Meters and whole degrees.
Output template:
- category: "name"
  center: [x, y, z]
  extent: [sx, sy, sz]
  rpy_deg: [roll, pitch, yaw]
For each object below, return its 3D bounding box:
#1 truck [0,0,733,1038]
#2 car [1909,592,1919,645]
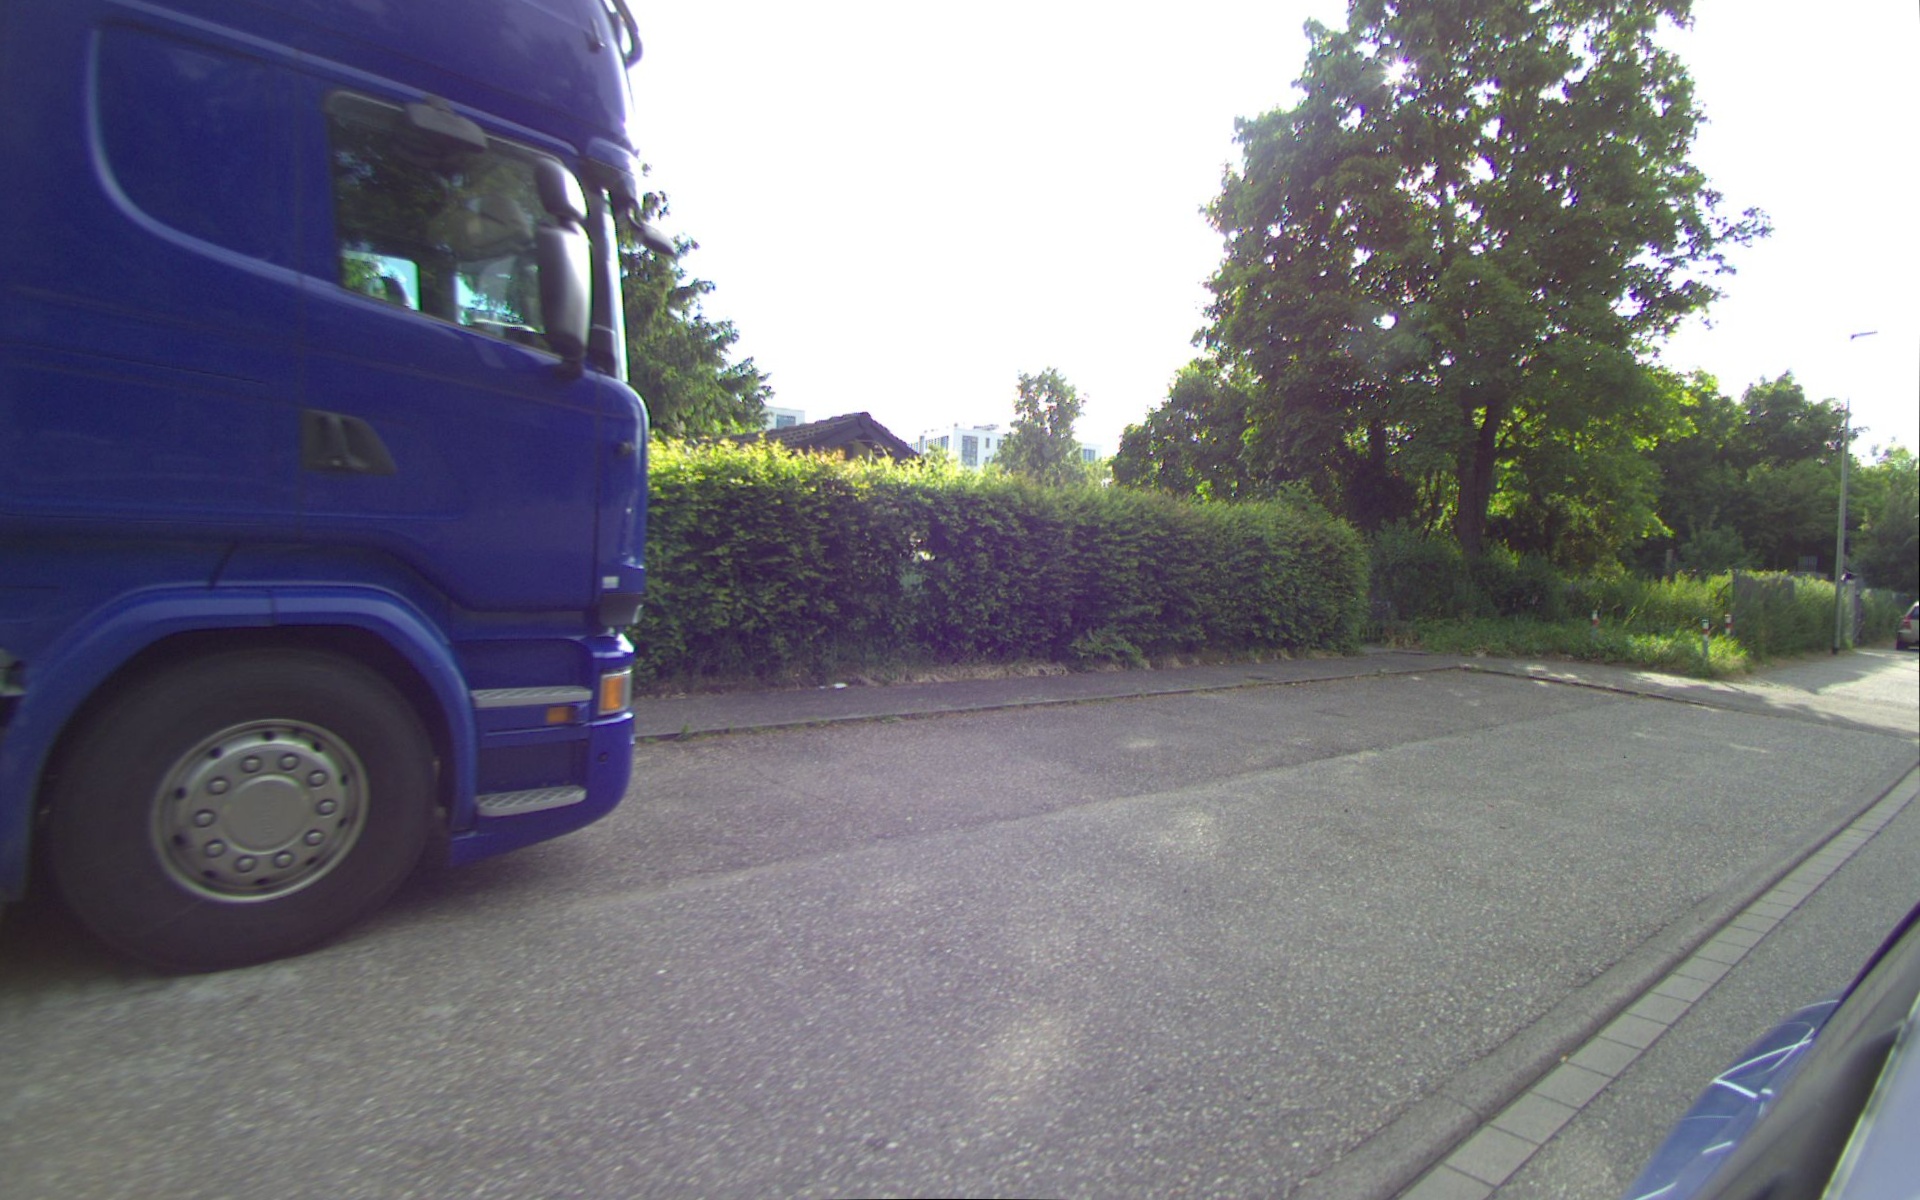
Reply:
- category: "truck"
  center: [-4.154, -0.909, 3.007]
  extent: [6.175, 4.005, 2.601]
  rpy_deg: [1, 5, -42]
- category: "car"
  center: [31.239, 0.639, 31.714]
  extent: [3.794, 1.589, 1.750]
  rpy_deg: [1, 4, -42]
